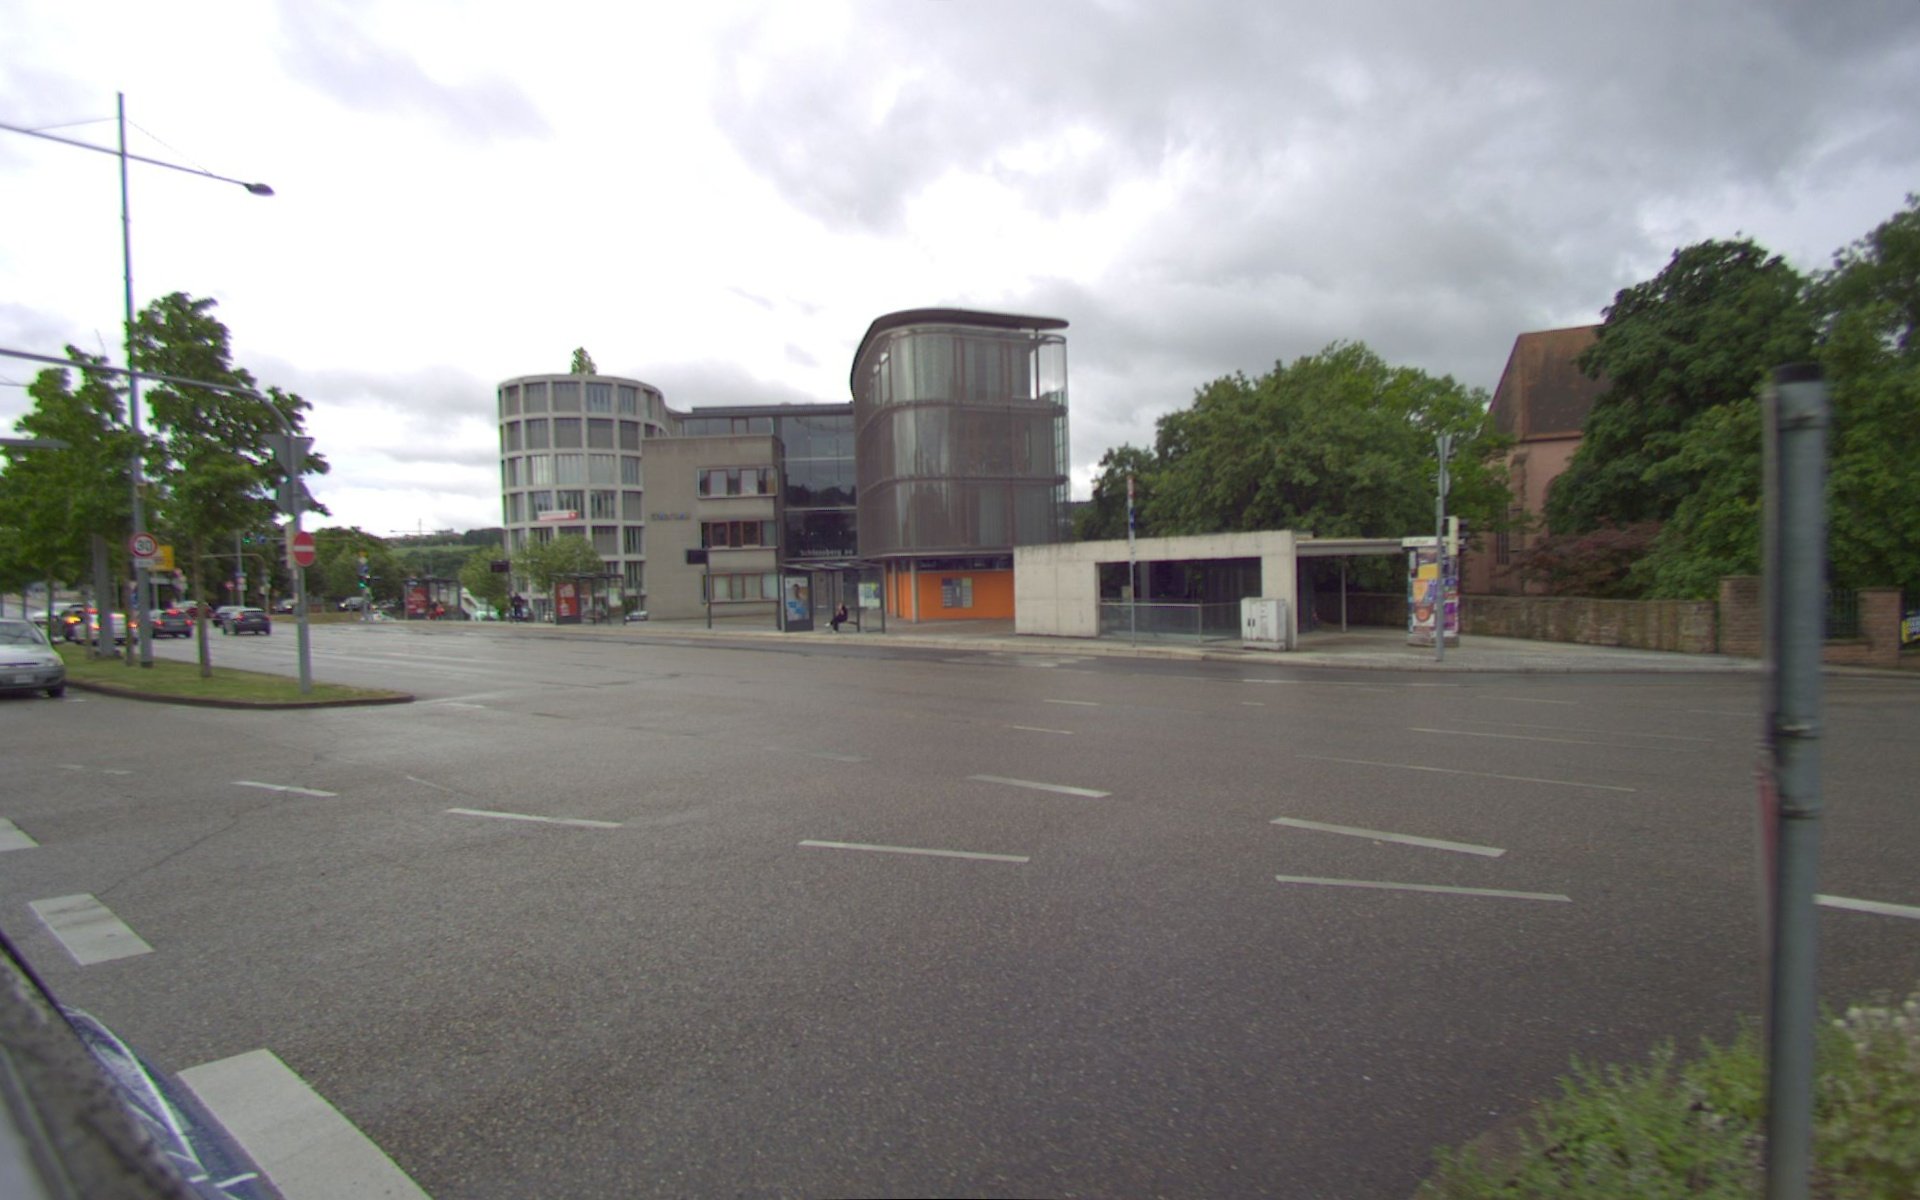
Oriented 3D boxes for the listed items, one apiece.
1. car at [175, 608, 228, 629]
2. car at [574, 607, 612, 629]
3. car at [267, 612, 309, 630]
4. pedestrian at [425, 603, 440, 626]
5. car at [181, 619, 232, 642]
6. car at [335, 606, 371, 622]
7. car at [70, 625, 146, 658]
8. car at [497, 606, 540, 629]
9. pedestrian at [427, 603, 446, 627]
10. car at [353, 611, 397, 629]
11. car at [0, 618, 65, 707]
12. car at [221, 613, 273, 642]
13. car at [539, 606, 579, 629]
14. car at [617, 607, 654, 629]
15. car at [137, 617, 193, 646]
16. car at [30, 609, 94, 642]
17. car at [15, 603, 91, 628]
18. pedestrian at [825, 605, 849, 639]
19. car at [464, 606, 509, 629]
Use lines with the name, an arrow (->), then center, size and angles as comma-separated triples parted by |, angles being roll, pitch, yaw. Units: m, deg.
car -> -62.823, 1.508, 83.876 | 1.846, 1.646, 4.166 | -1, 0, -10
car -> -28.703, 1.383, 79.270 | 1.848, 1.715, 4.162 | 0, -1, -5
car -> -64.244, 1.990, 96.828 | 1.864, 1.726, 4.226 | 0, -1, -10
pedestrian -> -34.470, 0.969, 66.119 | 0.722, 1.501, 0.735 | 1, -1, -42
car -> -51.627, 2.075, 69.316 | 3.997, 1.433, 1.936 | 0, -1, 40
car -> -65.125, 1.484, 108.701 | 1.865, 1.726, 4.225 | 0, -1, -9
car -> -38.937, 1.858, 46.225 | 4.162, 1.363, 1.984 | 0, -1, 40
car -> -34.165, 1.345, 78.475 | 1.848, 1.715, 4.162 | 0, -1, -5
pedestrian -> -33.825, 0.966, 65.415 | 0.969, 1.501, 0.735 | 1, -1, -40
car -> -53.521, 1.841, 92.687 | 1.932, 1.630, 4.213 | 0, -1, -5
car -> -17.915, 1.096, 18.544 | 3.716, 1.477, 1.678 | 0, -1, 39
car -> -39.955, 1.526, 56.686 | 3.864, 1.524, 1.658 | 0, -1, 43
car -> -31.164, 1.350, 78.751 | 1.848, 1.715, 4.162 | 0, 0, -5
car -> -25.355, 1.401, 79.226 | 1.848, 1.715, 4.162 | 0, -1, -5
car -> -42.630, 1.653, 54.235 | 4.452, 1.477, 1.676 | 0, -1, 43
car -> -44.992, 1.264, 50.704 | 4.164, 1.566, 1.983 | 0, -1, 43
car -> -62.551, 1.061, 69.864 | 1.847, 1.646, 4.293 | 0, -1, -8
pedestrian -> -4.808, 0.853, 39.540 | 0.659, 1.309, 0.720 | 1, -1, -45
car -> -36.640, 1.330, 78.358 | 1.848, 1.715, 4.162 | 0, -1, -5
